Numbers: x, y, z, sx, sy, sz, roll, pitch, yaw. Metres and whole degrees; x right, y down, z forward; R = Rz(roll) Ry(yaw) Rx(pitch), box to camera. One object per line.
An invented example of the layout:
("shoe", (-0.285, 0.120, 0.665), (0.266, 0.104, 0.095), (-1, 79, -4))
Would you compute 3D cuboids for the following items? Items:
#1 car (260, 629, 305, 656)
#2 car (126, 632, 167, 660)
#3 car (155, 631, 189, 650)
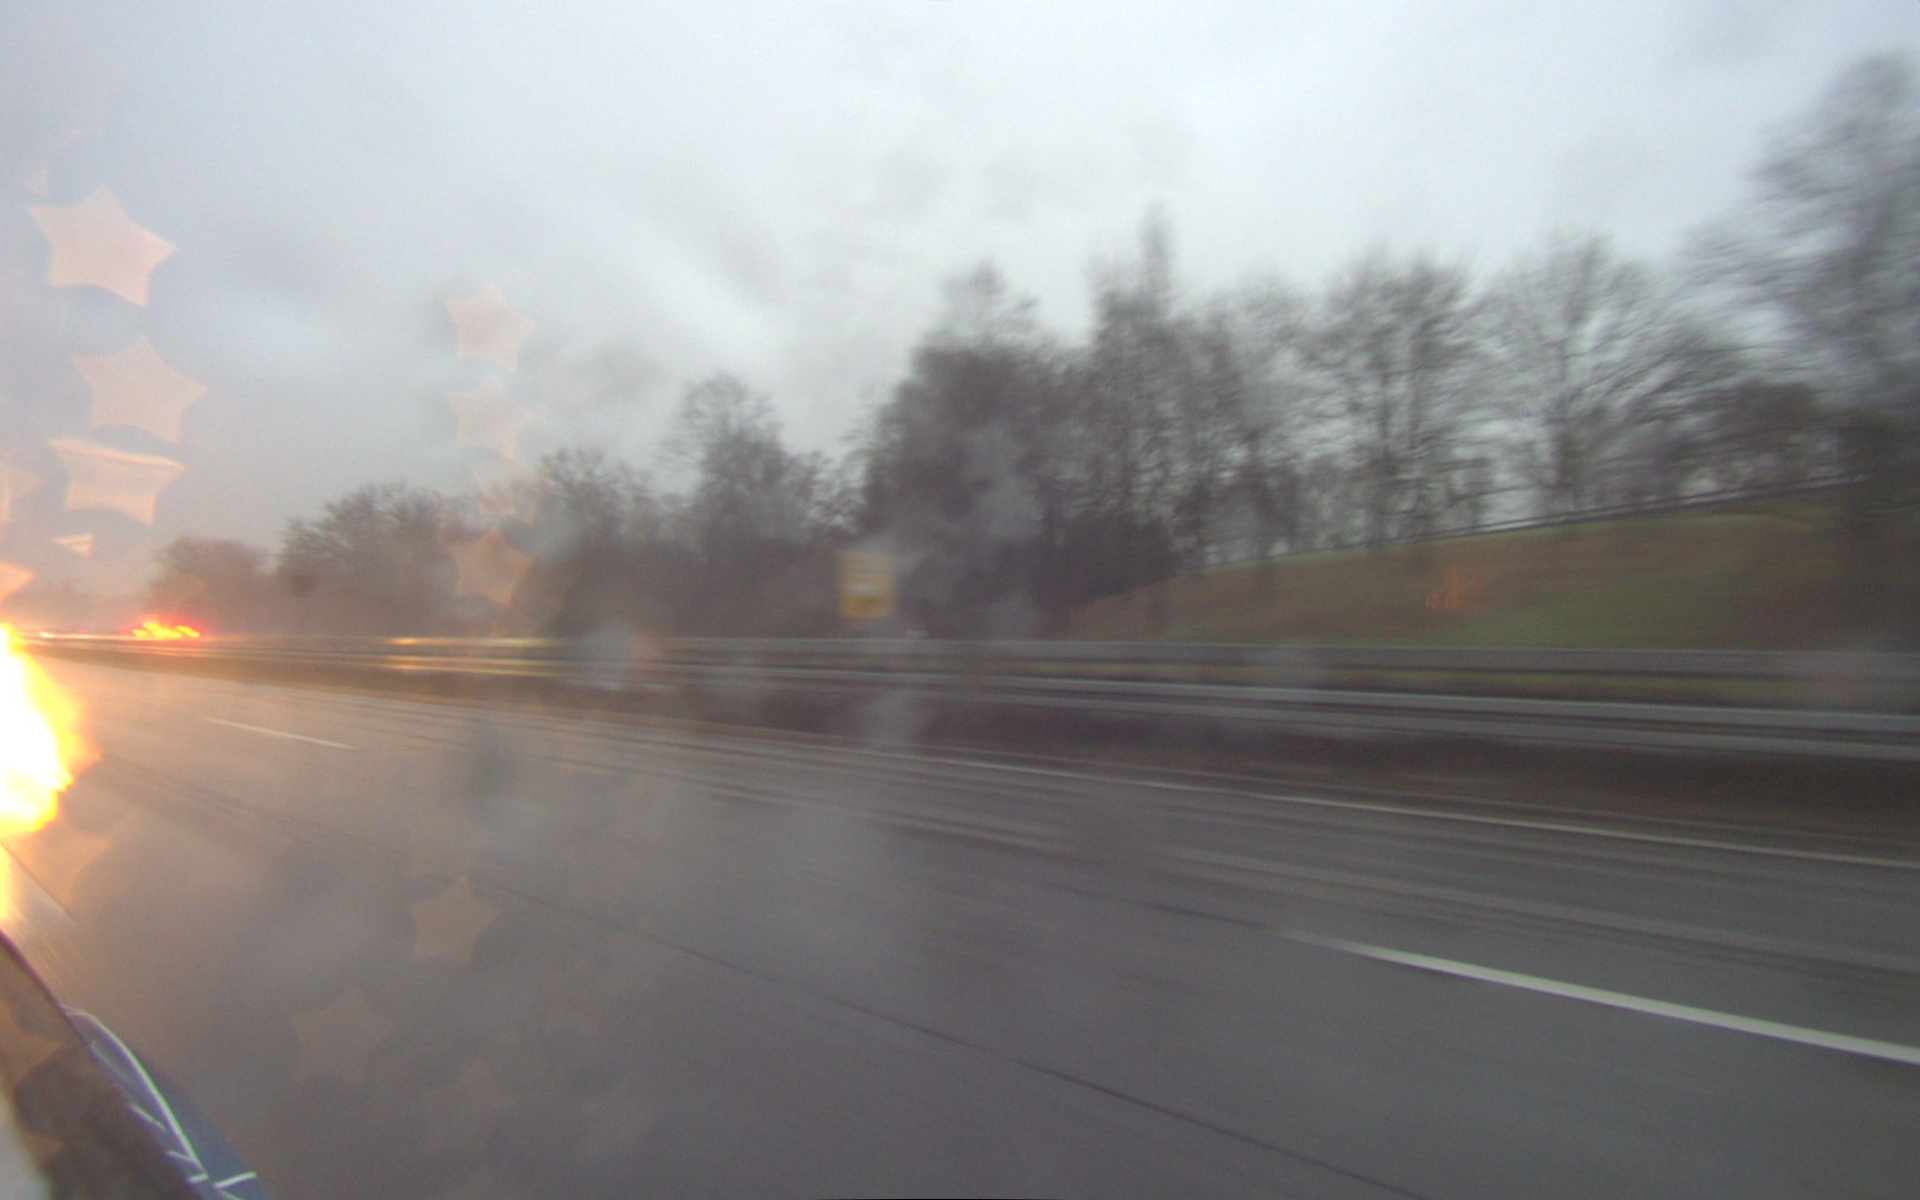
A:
("car", (-51.649, 3.240, 77.093), (4.000, 2.029, 1.972), (-3, -3, 43))
("car", (-65.484, 3.668, 81.448), (4.000, 2.029, 1.972), (0, 1, 43))
("car", (-71.311, 3.660, 91.558), (4.203, 1.647, 1.665), (-1, -2, 42))
